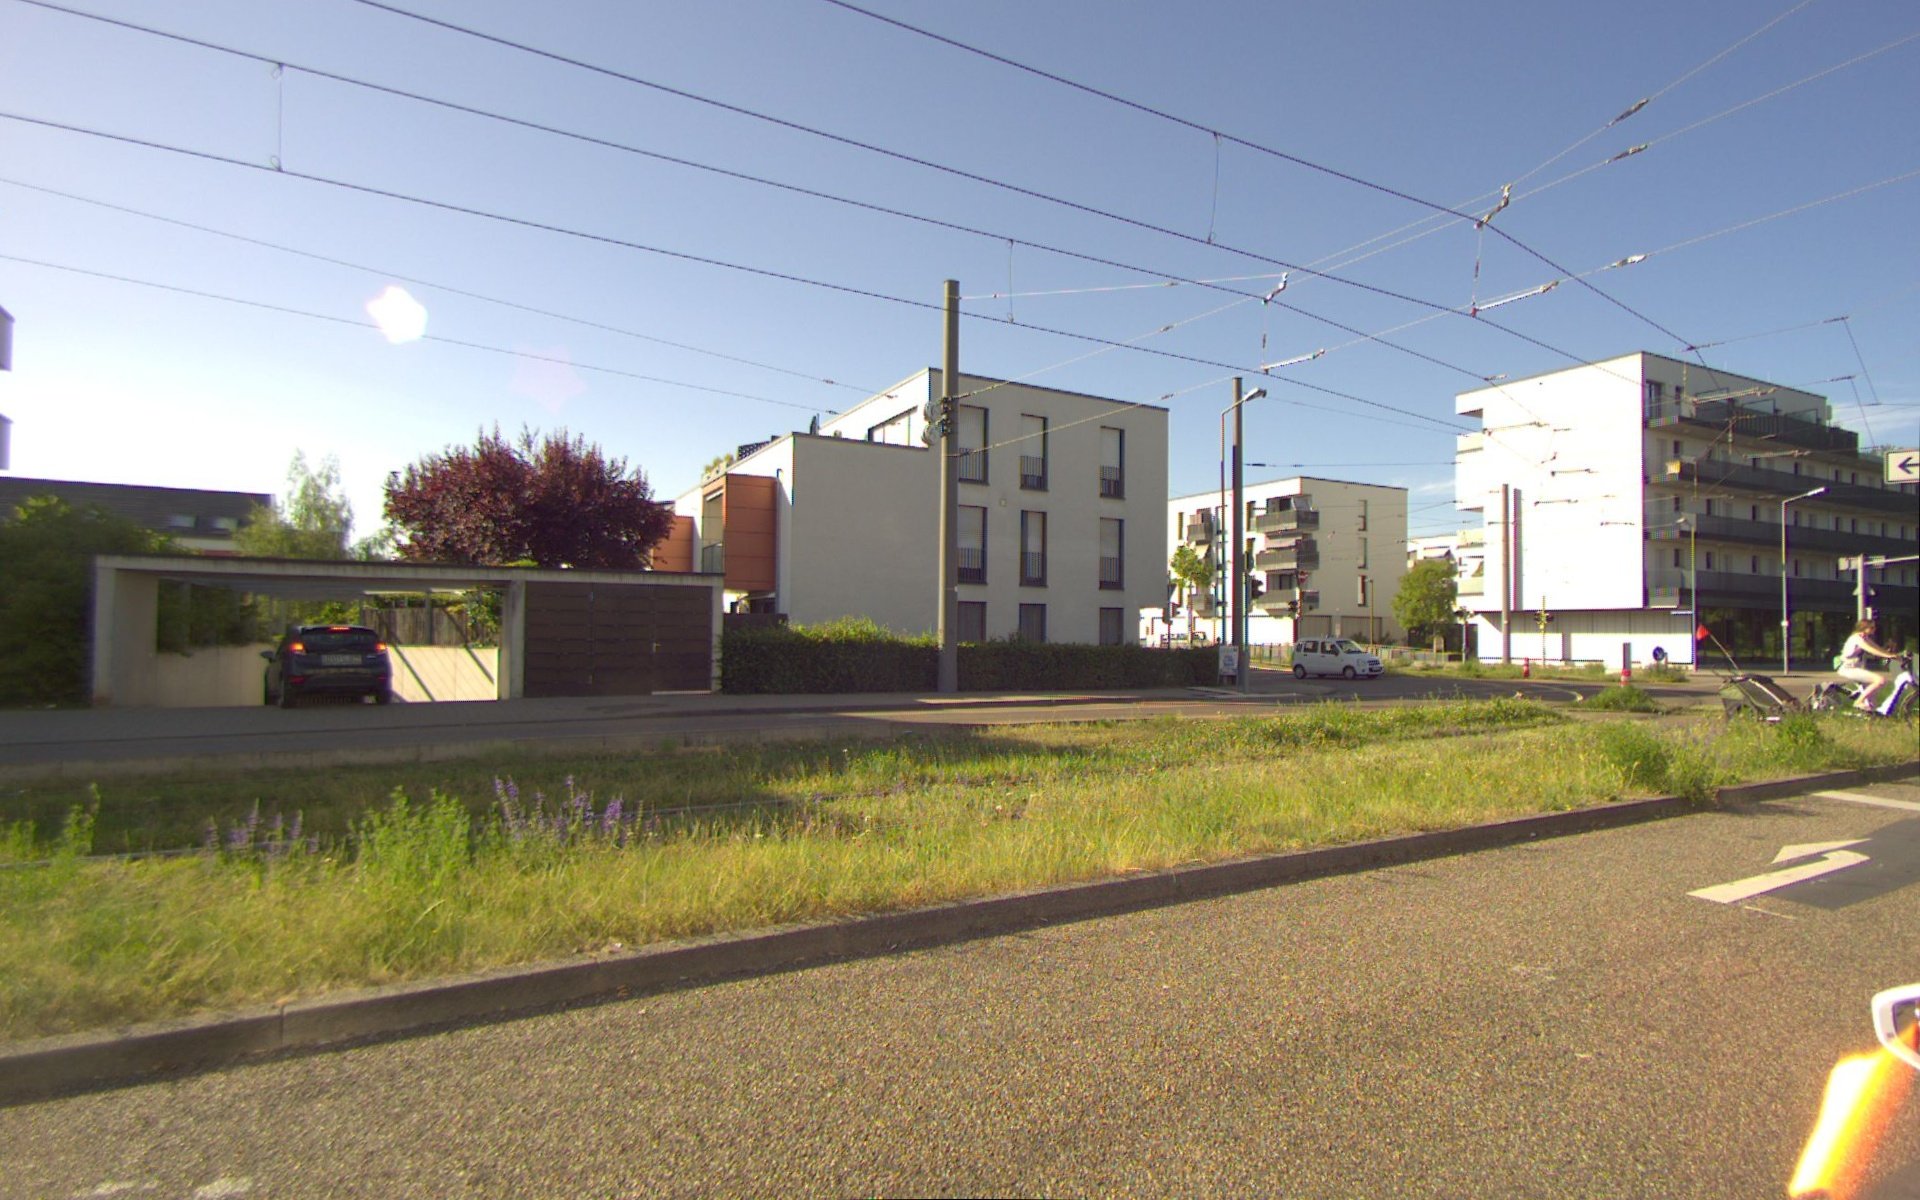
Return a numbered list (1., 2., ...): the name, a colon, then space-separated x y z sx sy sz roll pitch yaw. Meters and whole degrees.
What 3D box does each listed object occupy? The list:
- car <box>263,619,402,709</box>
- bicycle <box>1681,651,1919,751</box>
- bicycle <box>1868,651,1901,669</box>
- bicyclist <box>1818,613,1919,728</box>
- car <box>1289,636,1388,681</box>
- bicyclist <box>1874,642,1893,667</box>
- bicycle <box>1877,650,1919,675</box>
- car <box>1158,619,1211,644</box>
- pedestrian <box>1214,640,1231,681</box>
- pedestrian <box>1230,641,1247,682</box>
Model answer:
1. car: -11.732 1.138 18.681 1.695 1.449 3.698 4 -3 -39
2. bicycle: 13.519 1.527 15.587 0.988 1.190 3.664 1 1 -31
3. bicycle: 46.000 3.000 49.968 2.051 0.860 0.494 1 0 -26
4. bicyclist: 13.763 1.039 15.226 0.965 1.651 0.904 1 0 -33
5. car: 15.006 2.303 39.993 1.573 1.674 3.476 1 -3 -29
6. bicyclist: 45.939 2.697 49.960 0.703 1.239 0.473 1 0 -26
7. bicycle: 45.581 3.019 48.508 1.800 1.099 0.969 1 0 -6
8. car: 17.873 2.463 80.140 1.977 1.862 3.967 1 0 -31
9. pedestrian: 9.811 2.265 37.539 0.548 1.483 0.742 1 0 19
10. pedestrian: 10.348 2.284 37.318 0.548 1.483 0.611 1 0 23
